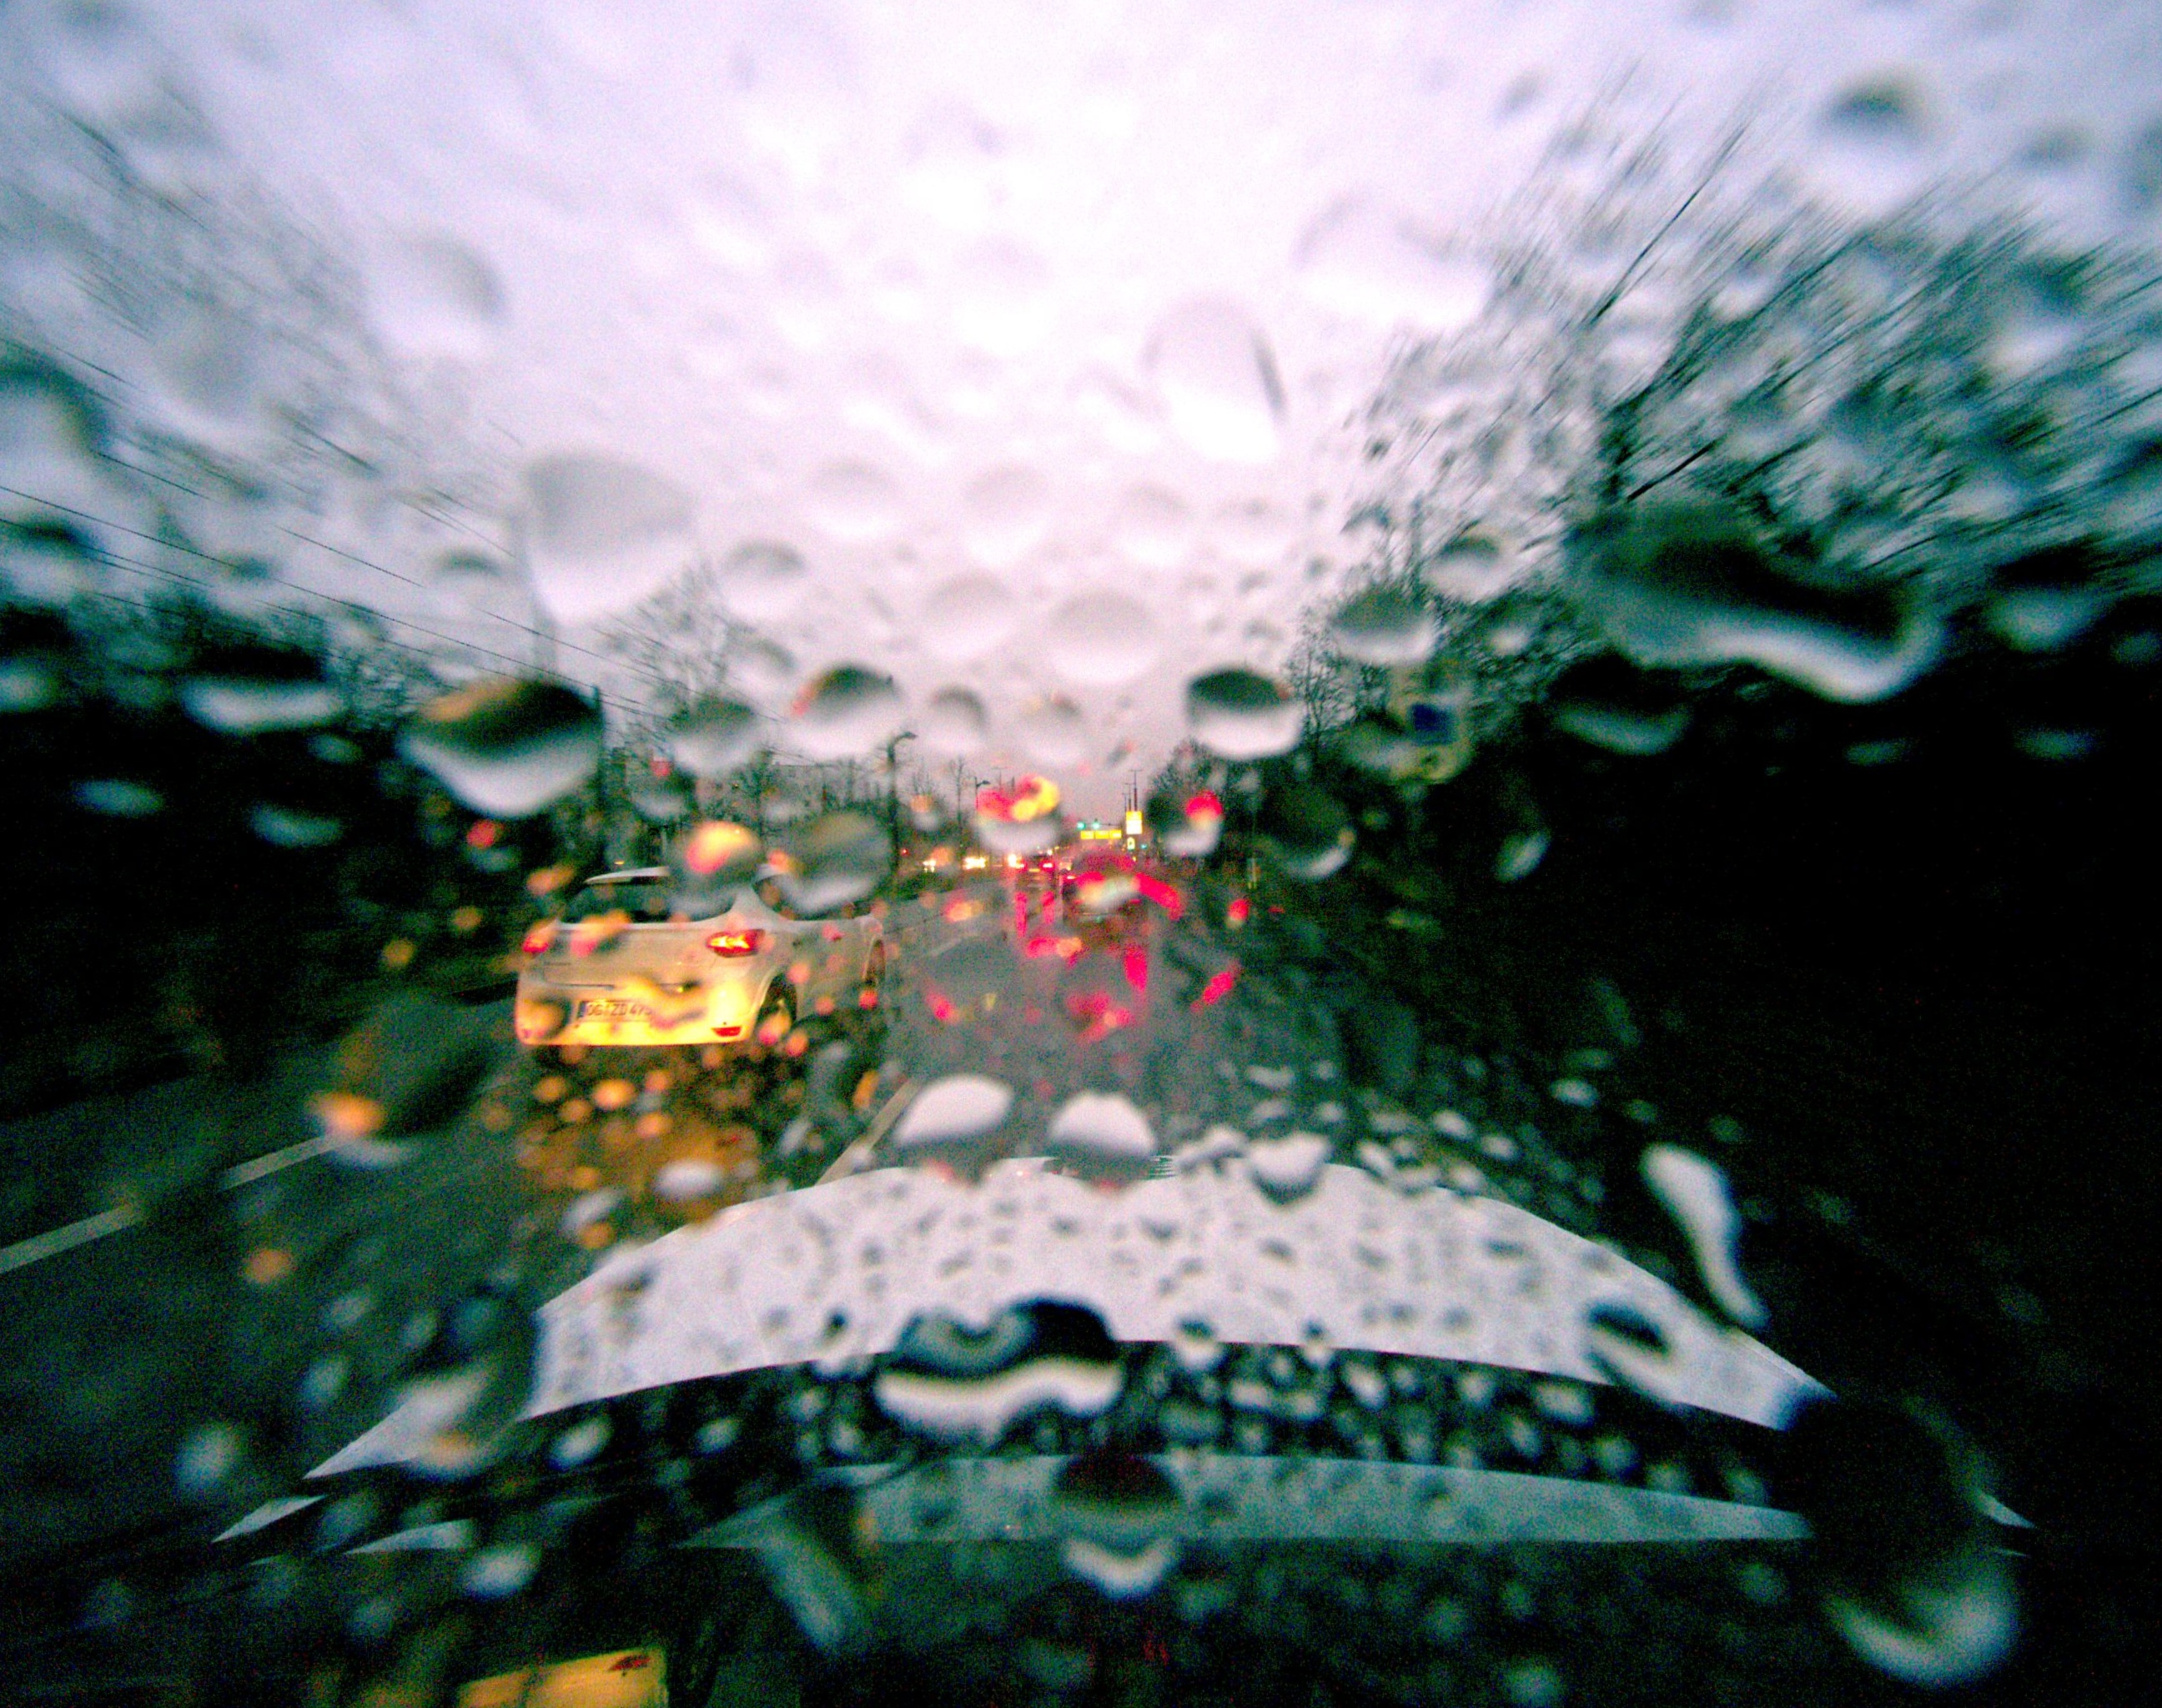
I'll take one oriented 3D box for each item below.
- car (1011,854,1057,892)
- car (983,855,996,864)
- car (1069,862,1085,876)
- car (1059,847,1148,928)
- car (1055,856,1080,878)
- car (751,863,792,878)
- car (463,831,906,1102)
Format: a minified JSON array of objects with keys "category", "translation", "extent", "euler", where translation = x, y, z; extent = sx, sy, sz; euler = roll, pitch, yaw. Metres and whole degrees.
[{"category":"car","translation":[-2.171,0.859,38.671],"extent":[1.815,1.648,4.002],"euler":[-2,0,2]},{"category":"car","translation":[-16.915,1.016,150.517],"extent":[1.764,1.553,3.947],"euler":[-2,0,0]},{"category":"car","translation":[-0.401,1.613,87.922],"extent":[1.499,1.339,4.002],"euler":[-2,0,2]},{"category":"car","translation":[0.549,0.703,19.236],"extent":[1.815,1.648,4.468],"euler":[-2,0,2]},{"category":"car","translation":[-1.058,1.030,66.692],"extent":[1.815,1.648,4.002],"euler":[-2,0,2]},{"category":"car","translation":[-37.584,2.009,98.818],"extent":[4.449,1.544,1.836],"euler":[-2,0,-26]},{"category":"car","translation":[-2.930,0.704,7.164],"extent":[1.707,1.648,4.149],"euler":[-2,0,2]}]
